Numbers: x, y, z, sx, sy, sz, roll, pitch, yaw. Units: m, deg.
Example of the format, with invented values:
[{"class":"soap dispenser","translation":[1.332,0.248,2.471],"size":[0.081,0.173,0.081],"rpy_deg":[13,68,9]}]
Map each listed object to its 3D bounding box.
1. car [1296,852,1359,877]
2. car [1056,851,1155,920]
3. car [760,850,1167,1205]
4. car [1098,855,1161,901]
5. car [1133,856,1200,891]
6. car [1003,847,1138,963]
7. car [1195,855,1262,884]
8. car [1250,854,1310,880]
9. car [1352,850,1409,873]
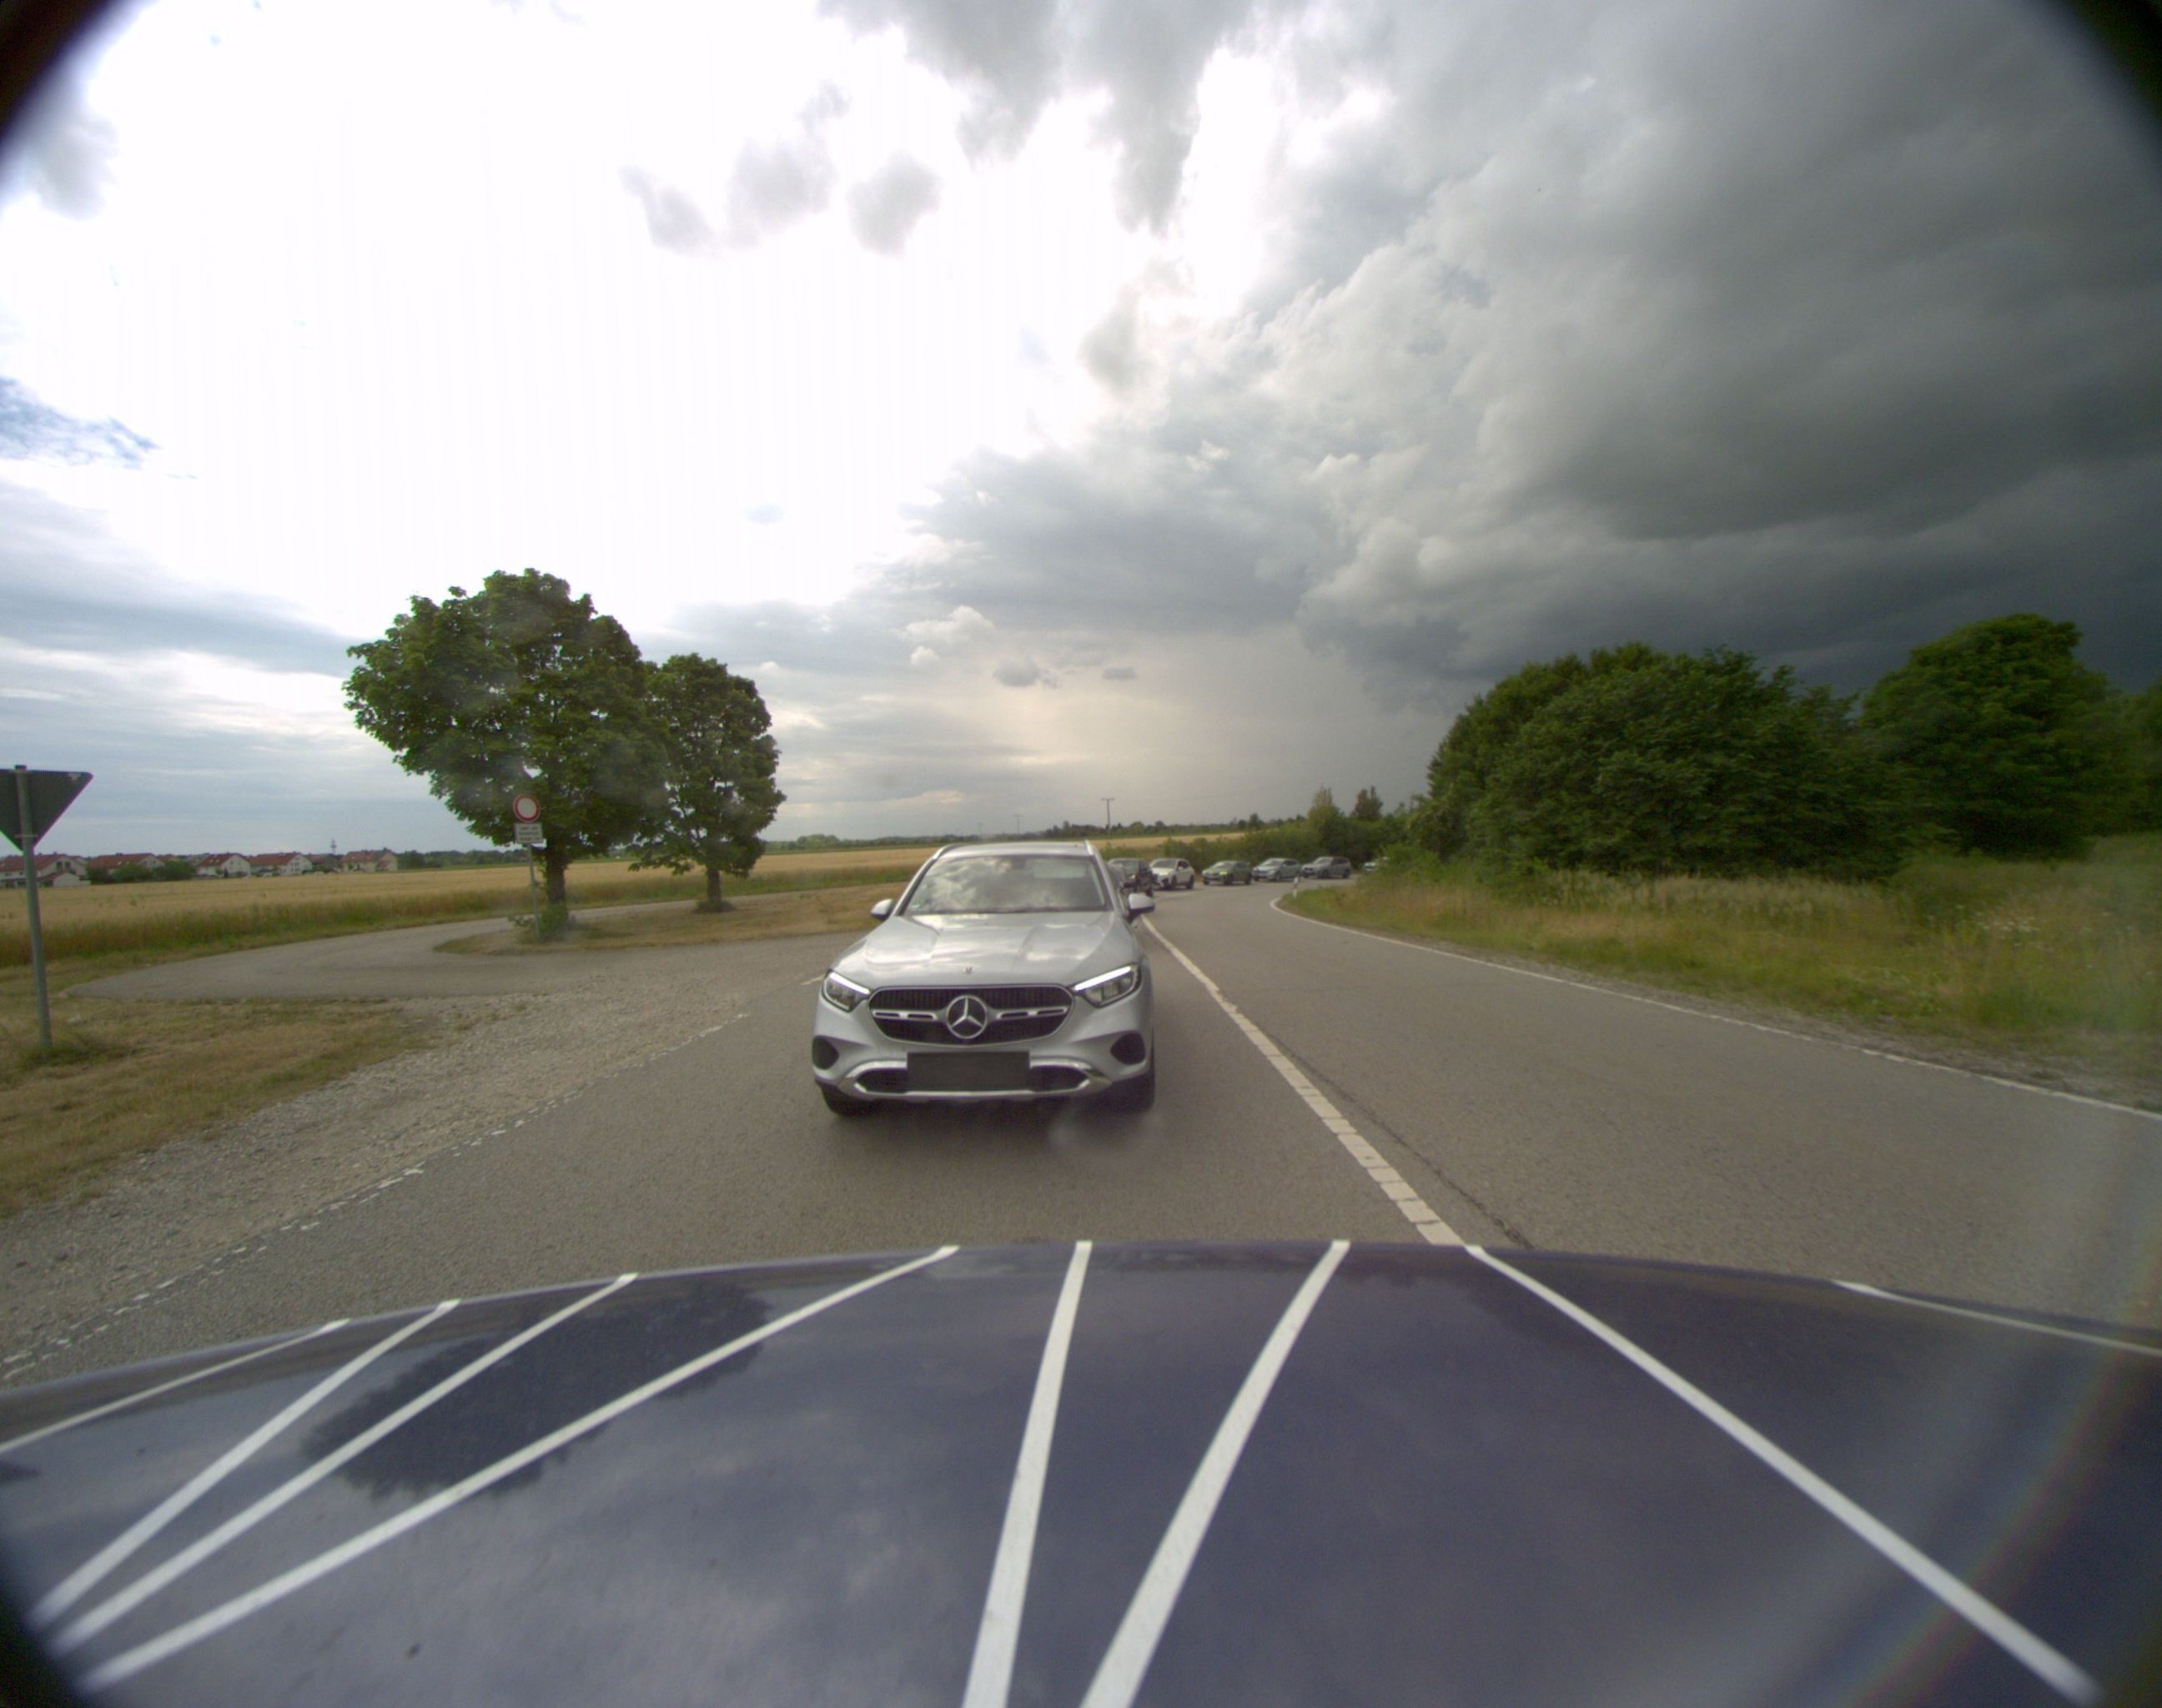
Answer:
[{"class":"car","translation":[19.253,0.776,59.337],"size":[5.217,1.710,1.994],"rpy_deg":[-3,3,-36]},{"class":"car","translation":[0.848,0.849,21.908],"size":[1.997,1.709,5.214],"rpy_deg":[1,-1,11]},{"class":"car","translation":[-0.516,0.803,5.770],"size":[1.836,1.577,4.449],"rpy_deg":[-2,1,1]},{"class":"car","translation":[2.174,0.960,32.647],"size":[1.997,1.710,5.213],"rpy_deg":[1,1,11]},{"class":"car","translation":[4.755,0.978,41.407],"size":[1.995,1.710,5.218],"rpy_deg":[1,1,26]},{"class":"car","translation":[0.005,0.821,14.051],"size":[1.998,1.709,5.211],"rpy_deg":[-1,-1,4]},{"class":"car","translation":[9.542,0.963,48.797],"size":[1.994,1.710,5.220],"rpy_deg":[2,1,38]},{"class":"car","translation":[14.299,0.887,54.423],"size":[1.994,1.710,5.220],"rpy_deg":[2,1,41]},{"class":"car","translation":[25.438,0.602,64.375],"size":[5.217,1.710,1.994],"rpy_deg":[-3,3,-36]}]
